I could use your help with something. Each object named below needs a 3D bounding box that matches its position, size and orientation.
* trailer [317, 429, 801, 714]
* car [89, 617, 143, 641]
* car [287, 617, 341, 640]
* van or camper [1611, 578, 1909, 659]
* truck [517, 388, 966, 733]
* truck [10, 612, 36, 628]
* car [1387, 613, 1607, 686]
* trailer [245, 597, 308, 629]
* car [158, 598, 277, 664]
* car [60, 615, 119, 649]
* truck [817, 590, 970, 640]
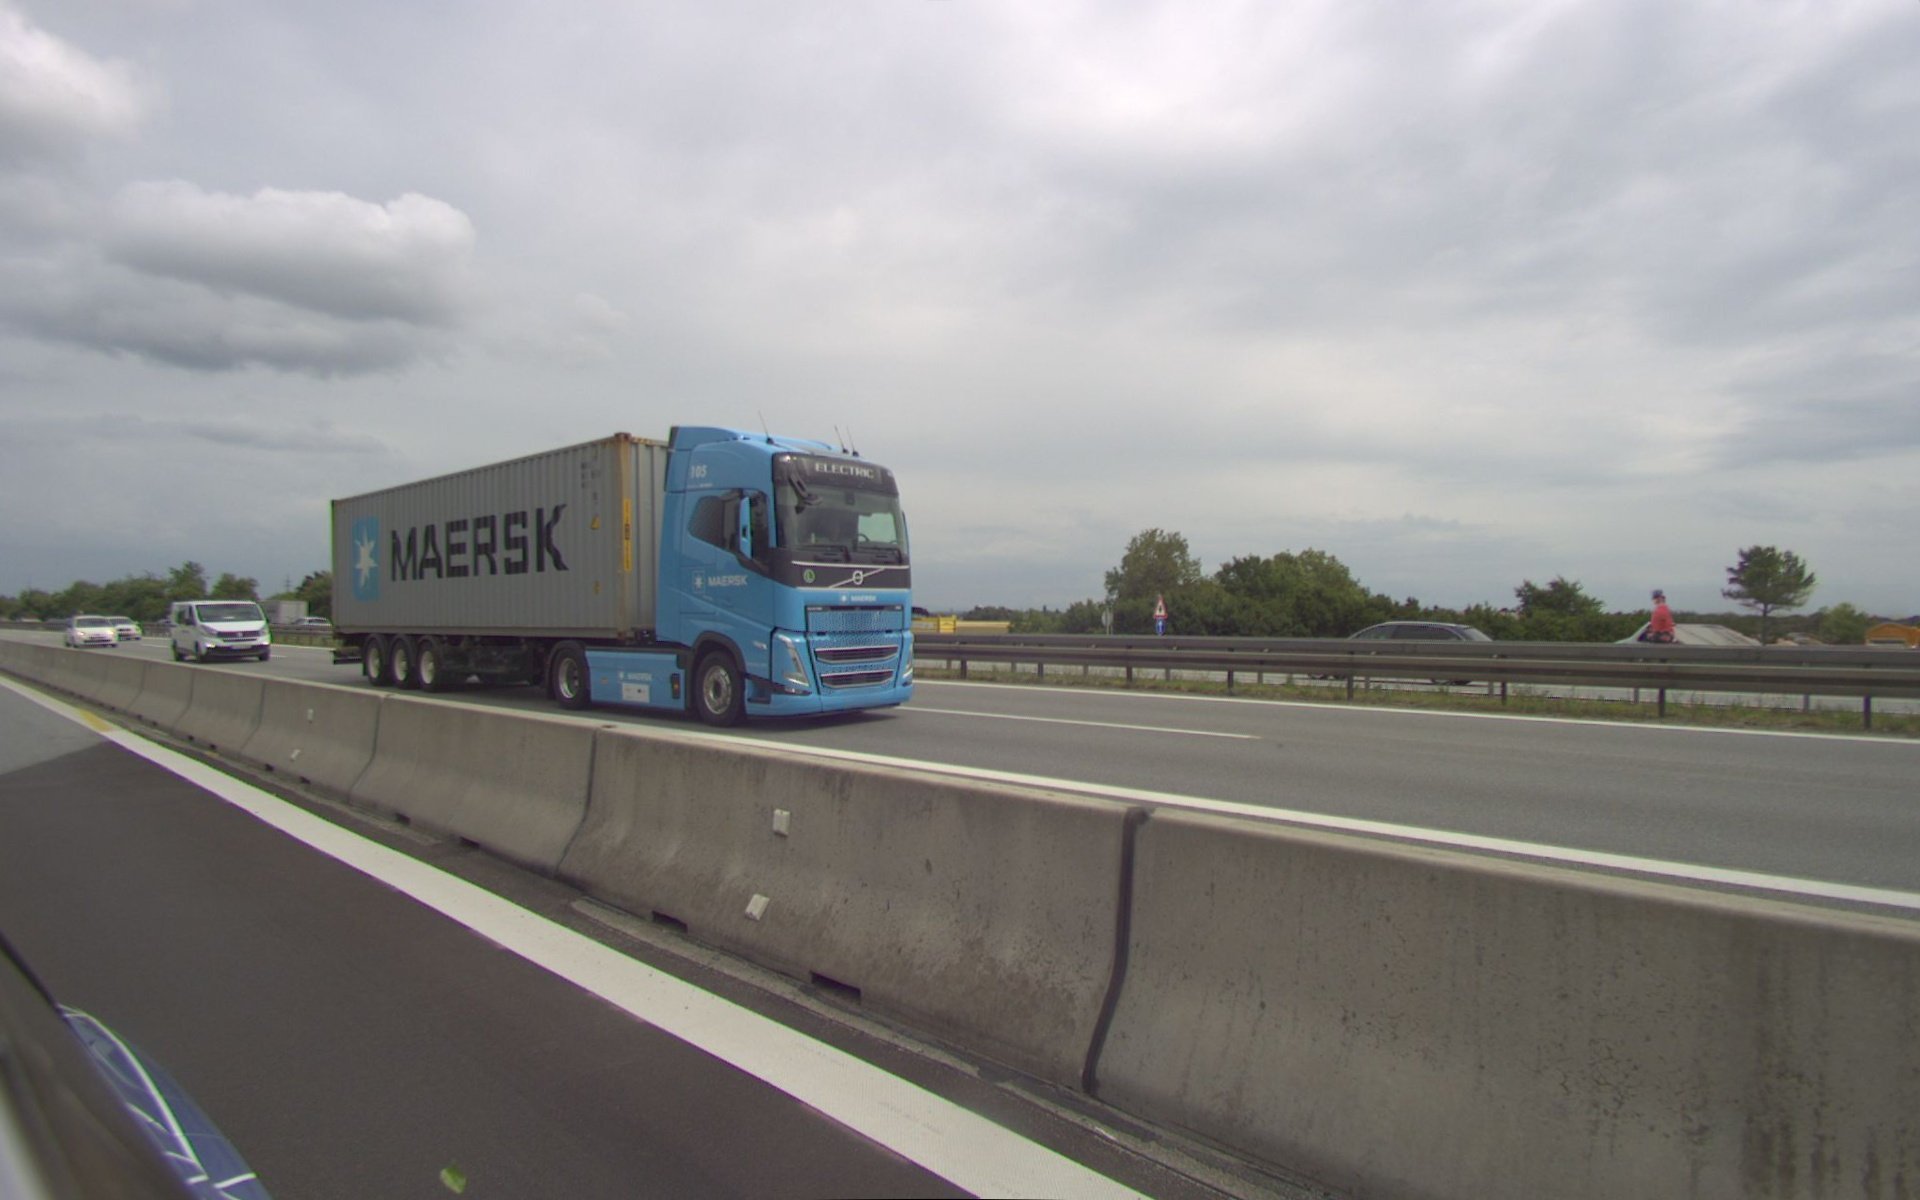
[{"bbox_3d":[-8.325,-0.359,19.293,12.373,3.954,3.203,-1,0,41],"label":"trailer"},{"bbox_3d":[-50.806,1.730,60.896,4.202,1.379,1.735,-1,-1,40],"label":"car"},{"bbox_3d":[-41.873,1.843,65.535,3.997,1.434,1.873,-1,-1,40],"label":"car"},{"bbox_3d":[21.943,0.516,28.145,6.271,2.029,2.213,-1,-1,39],"label":"van or camper"},{"bbox_3d":[-3.459,-0.425,14.987,6.607,3.941,3.213,-1,0,42],"label":"truck"},{"bbox_3d":[-142.203,2.969,153.526,6.198,2.388,2.252,-1,-1,41],"label":"truck"},{"bbox_3d":[11.788,1.037,22.376,3.999,1.434,1.736,-1,-1,42],"label":"car"},{"bbox_3d":[-73.245,1.427,108.342,9.819,3.294,3.164,-1,-1,41],"label":"trailer"},{"bbox_3d":[-24.012,0.946,32.657,5.129,1.952,1.979,-1,1,41],"label":"car"},{"bbox_3d":[-41.055,1.497,47.695,3.774,1.496,1.662,-1,-1,43],"label":"car"},{"bbox_3d":[-3.960,0.909,60.168,8.721,2.795,2.894,-1,-1,22],"label":"truck"}]
